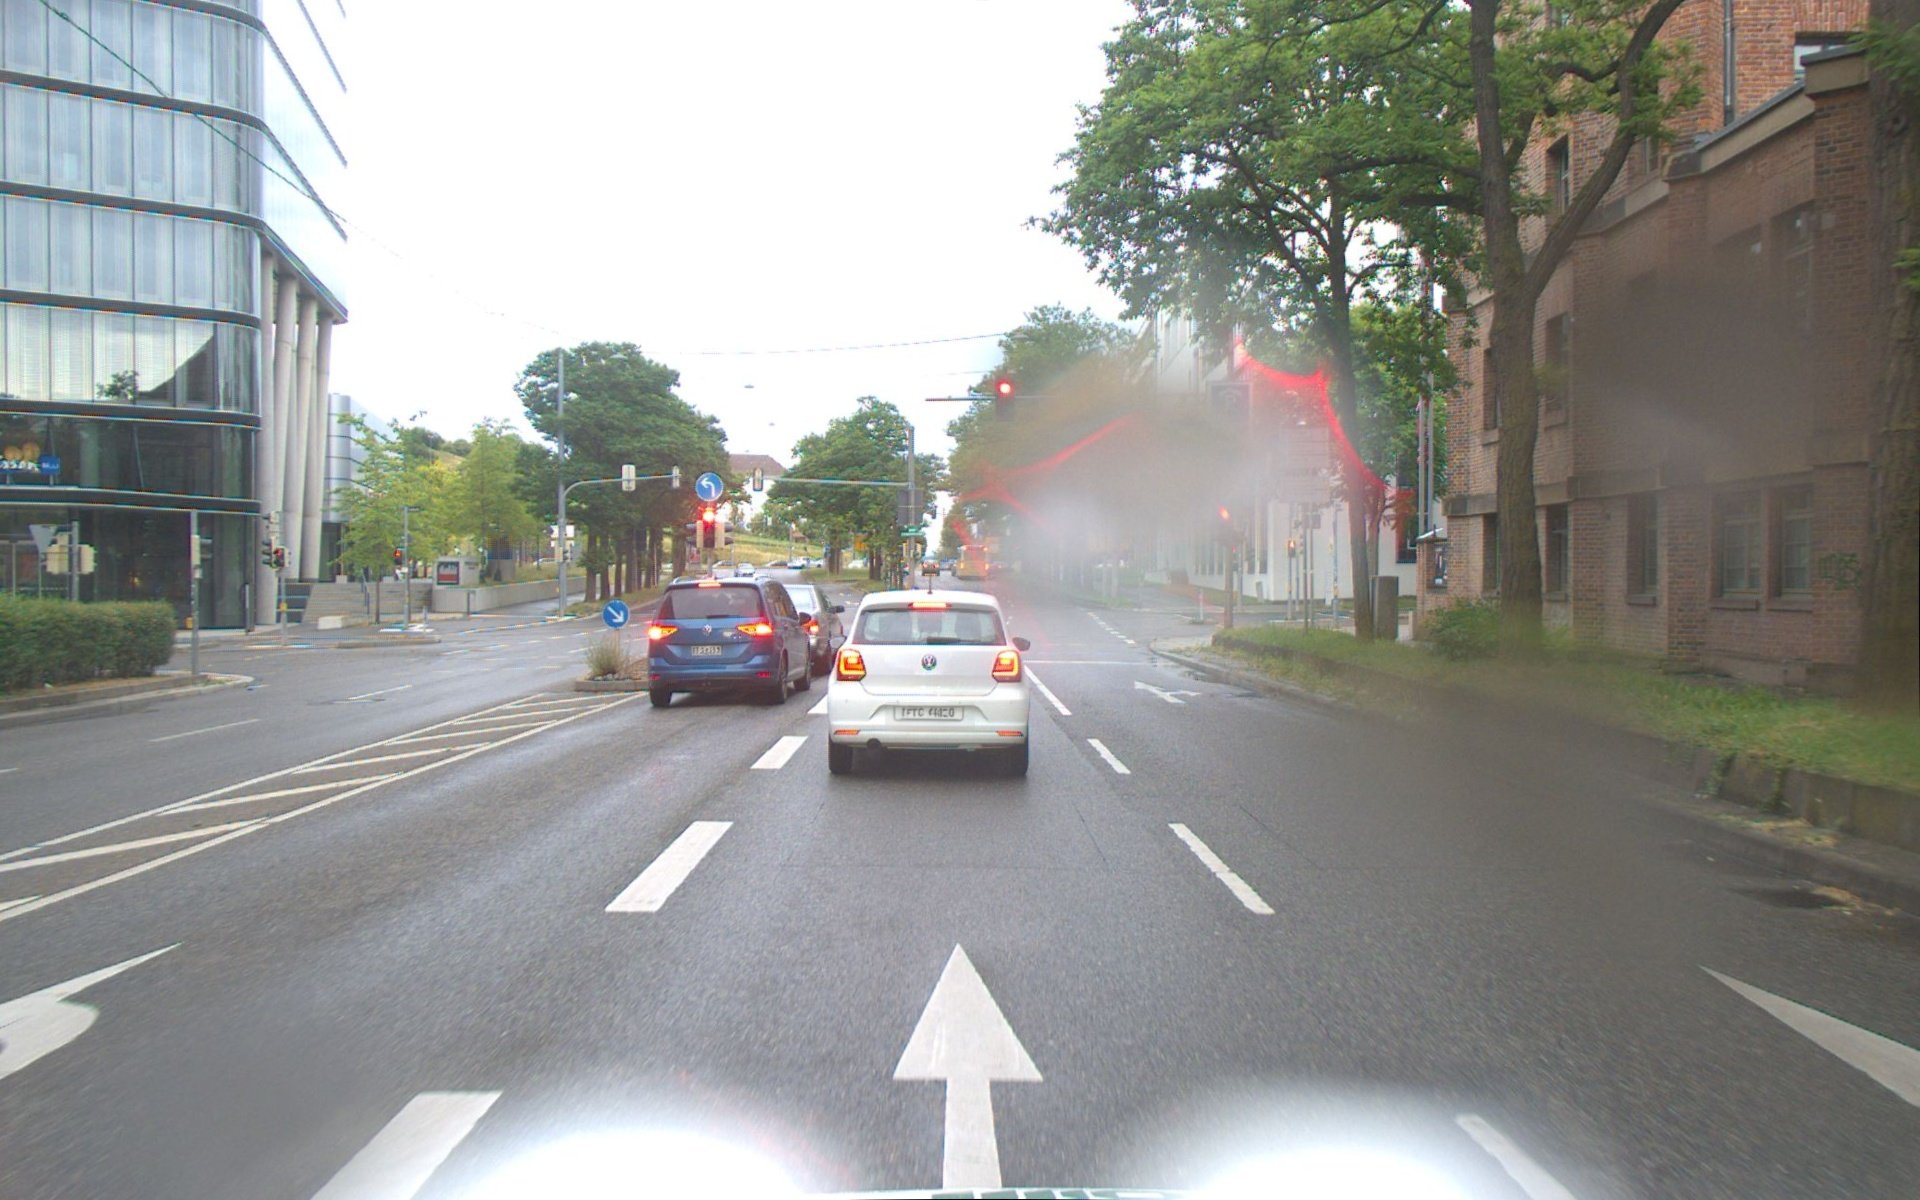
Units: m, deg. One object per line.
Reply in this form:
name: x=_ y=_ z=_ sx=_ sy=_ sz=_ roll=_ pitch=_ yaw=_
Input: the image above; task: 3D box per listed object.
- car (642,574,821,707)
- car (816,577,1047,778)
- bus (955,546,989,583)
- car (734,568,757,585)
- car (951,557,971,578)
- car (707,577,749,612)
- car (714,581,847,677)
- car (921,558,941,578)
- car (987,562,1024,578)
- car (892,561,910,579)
car: x=-3.014 y=0.482 z=22.636 sx=1.735 sy=1.624 sz=4.198 roll=-1 pitch=1 yaw=1
car: x=-0.243 y=0.569 z=14.600 sx=1.758 sy=1.528 sz=3.999 roll=0 pitch=1 yaw=-1
bus: x=1.110 y=-3.375 z=156.013 sx=2.771 sy=3.323 sz=9.998 roll=0 pitch=2 yaw=-2
car: x=-19.640 y=-2.208 z=151.759 sx=1.779 sy=1.436 sz=4.652 roll=-2 pitch=2 yaw=-5
car: x=0.079 y=-3.314 z=170.213 sx=1.953 sy=2.049 sz=3.999 roll=0 pitch=1 yaw=-2
car: x=-11.069 y=-0.270 z=79.082 sx=1.716 sy=1.547 sz=3.814 roll=-1 pitch=2 yaw=-5
car: x=-3.058 y=0.452 z=28.966 sx=1.809 sy=1.536 sz=4.049 roll=-1 pitch=1 yaw=1
car: x=-2.965 y=-3.267 z=169.985 sx=1.953 sy=2.049 sz=3.999 roll=0 pitch=1 yaw=-2
car: x=4.688 y=-3.074 z=169.979 sx=1.671 sy=1.542 sz=3.803 roll=0 pitch=1 yaw=43
car: x=-6.154 y=-3.126 z=171.501 sx=1.758 sy=1.772 sz=3.998 roll=-1 pitch=1 yaw=-3
